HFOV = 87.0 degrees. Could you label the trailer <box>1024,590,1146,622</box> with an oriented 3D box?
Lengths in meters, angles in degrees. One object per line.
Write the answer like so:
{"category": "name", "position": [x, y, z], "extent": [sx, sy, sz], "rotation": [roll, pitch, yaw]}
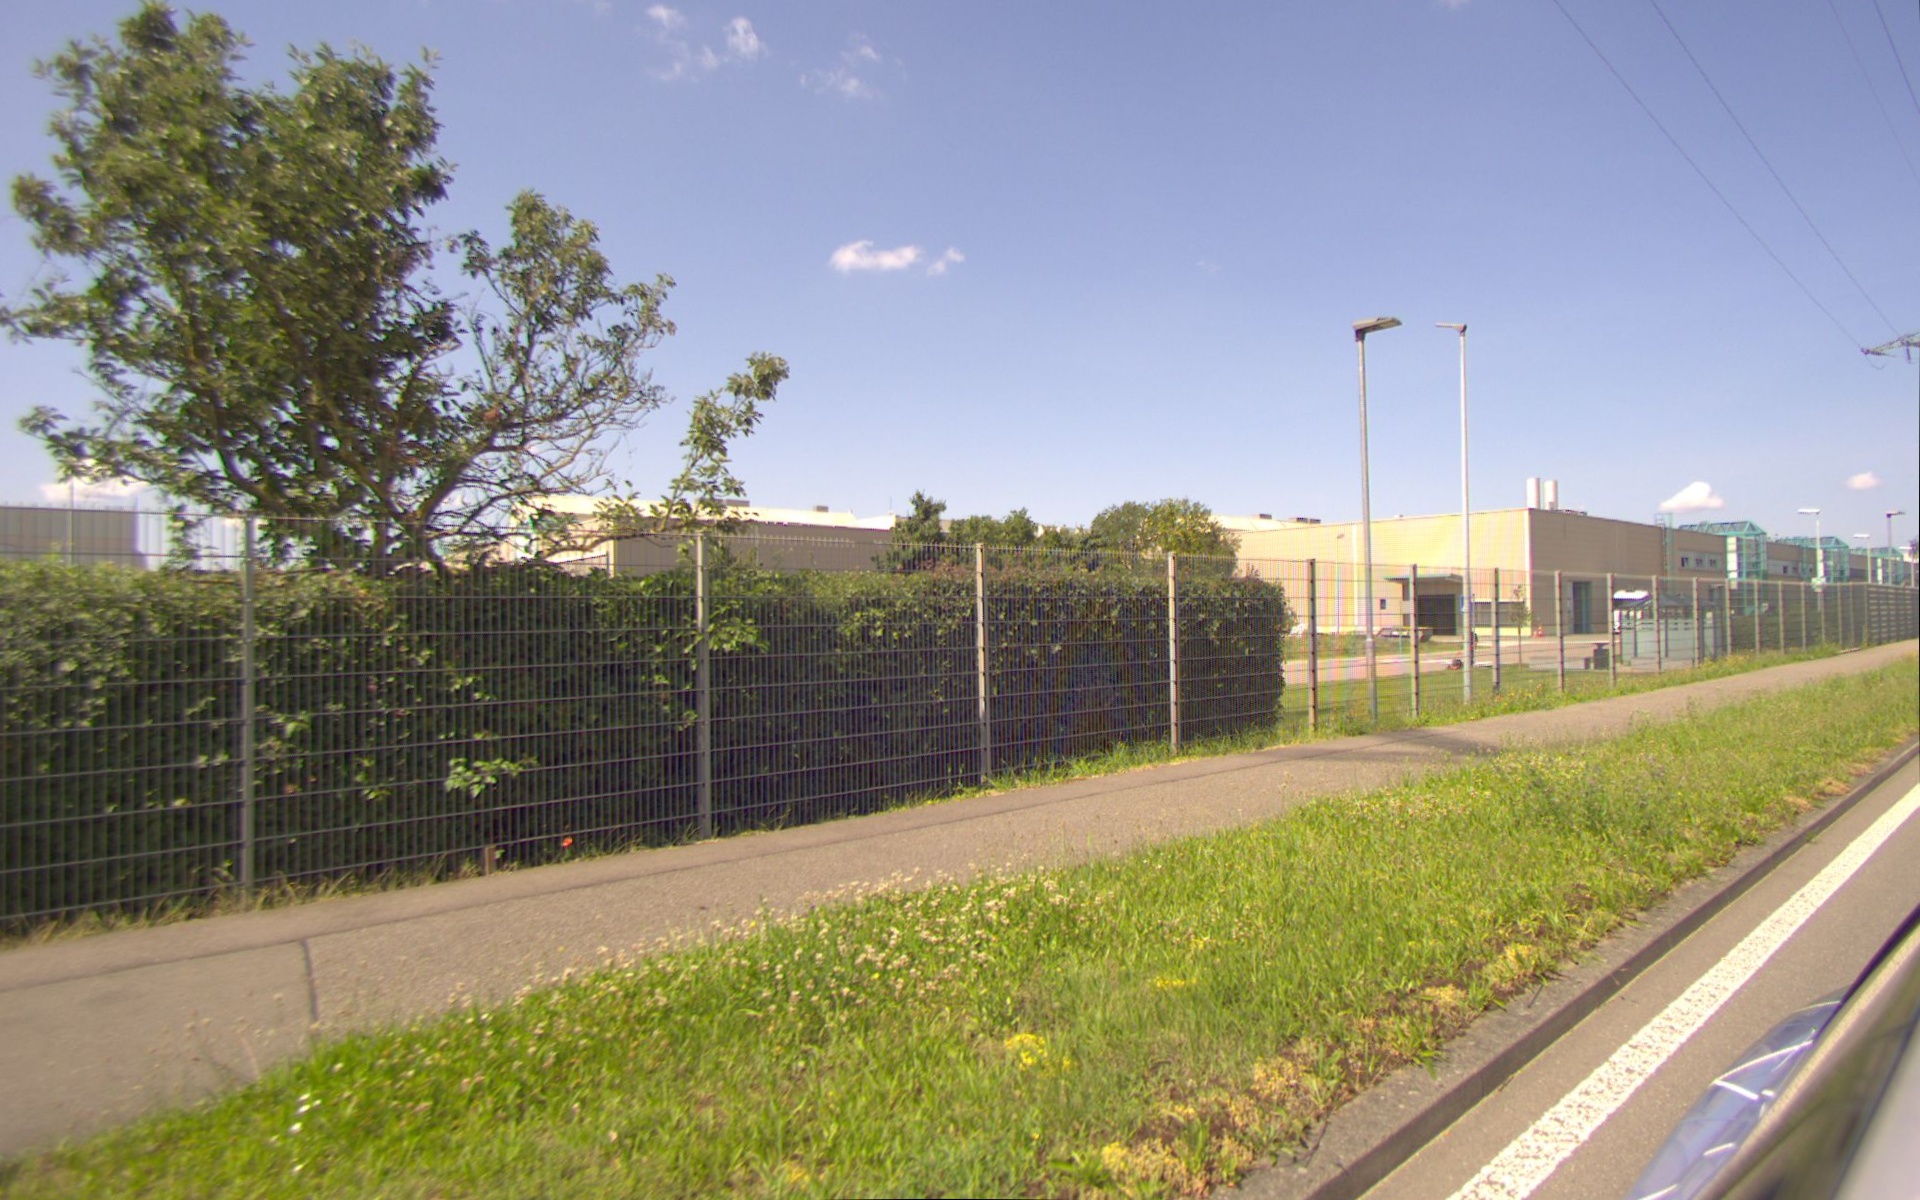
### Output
{"category": "trailer", "position": [11.701, 0.495, 93.184], "extent": [13.840, 2.746, 1.998], "rotation": [-1, 1, -38]}

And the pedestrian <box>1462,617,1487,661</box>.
{"category": "pedestrian", "position": [20.663, 1.554, 40.665], "extent": [0.778, 1.752, 0.592], "rotation": [0, -3, -40]}
